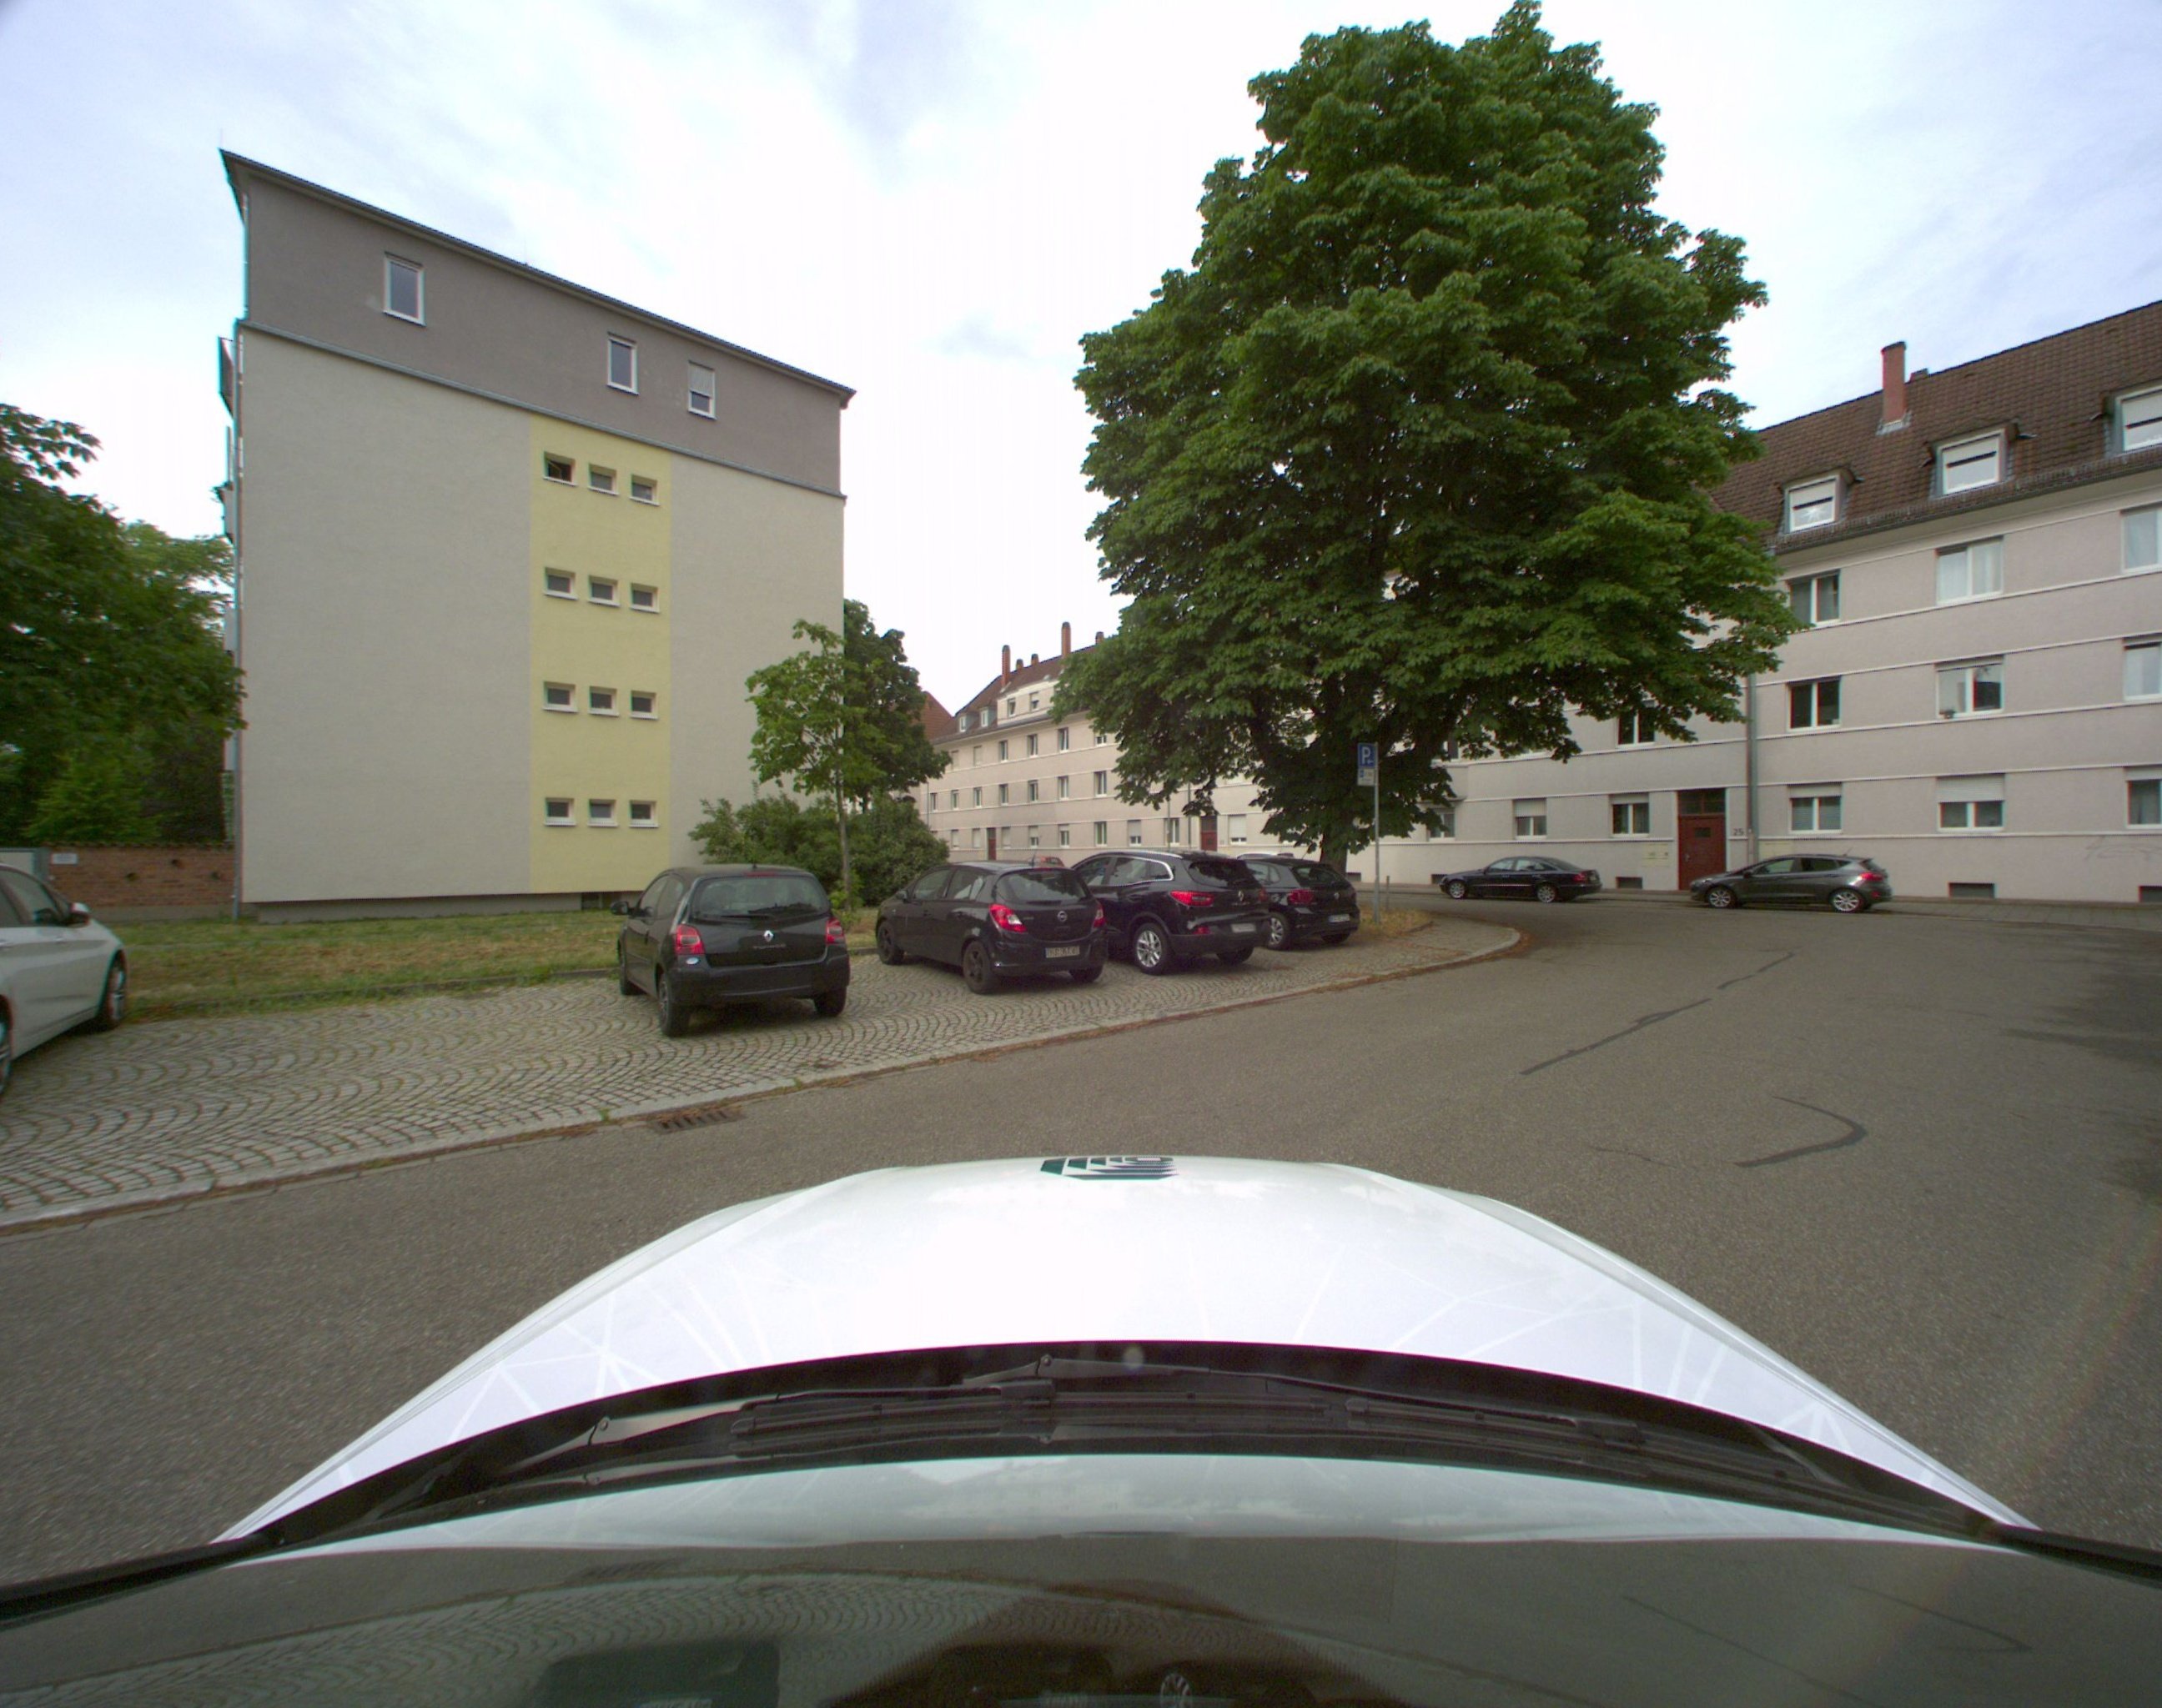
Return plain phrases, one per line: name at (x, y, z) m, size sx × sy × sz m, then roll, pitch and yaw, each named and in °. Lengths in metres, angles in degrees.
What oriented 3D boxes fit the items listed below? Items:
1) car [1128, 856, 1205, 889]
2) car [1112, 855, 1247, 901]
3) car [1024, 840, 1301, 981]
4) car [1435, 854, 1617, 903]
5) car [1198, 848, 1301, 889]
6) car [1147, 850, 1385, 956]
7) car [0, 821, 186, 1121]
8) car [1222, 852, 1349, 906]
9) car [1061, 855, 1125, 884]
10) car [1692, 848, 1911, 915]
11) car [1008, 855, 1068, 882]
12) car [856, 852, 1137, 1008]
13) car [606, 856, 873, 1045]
car at (4.147, 0.874, 39.858) m, size 1.579 × 1.478 × 3.827 m, roll -1°, pitch 0°, yaw -37°
car at (3.350, 0.819, 28.526) m, size 1.882 × 1.465 × 4.780 m, roll 3°, pitch -2°, yaw -37°
car at (1.017, 0.652, 11.997) m, size 1.924 × 1.697 × 4.025 m, roll 0°, pitch 1°, yaw -34°
car at (14.303, 0.716, 26.459) m, size 1.760 × 1.420 × 4.892 m, roll -1°, pitch 1°, yaw -39°
car at (7.389, 0.603, 36.006) m, size 1.858 × 1.673 × 4.239 m, roll -2°, pitch 1°, yaw -40°
car at (3.091, 0.740, 14.273) m, size 1.839 × 1.577 × 3.800 m, roll -1°, pitch 0°, yaw -36°
car at (-8.088, 0.605, 5.615) m, size 1.893 × 1.560 × 4.103 m, roll 2°, pitch 2°, yaw -38°
car at (6.099, 0.721, 24.546) m, size 1.536 × 1.494 × 3.552 m, roll 3°, pitch -2°, yaw -35°
car at (0.625, 0.808, 44.214) m, size 1.579 × 1.473 × 3.655 m, roll 0°, pitch 0°, yaw -36°
car at (18.572, 0.634, 21.130) m, size 1.771 × 1.525 × 4.032 m, roll -1°, pitch 1°, yaw -39°
car at (-2.569, 0.841, 48.278) m, size 1.710 × 1.525 × 3.782 m, roll -2°, pitch 1°, yaw -38°
car at (-1.327, 0.776, 10.724) m, size 1.849 × 1.566 × 4.311 m, roll 0°, pitch 1°, yaw -34°
car at (-3.998, 0.791, 9.003) m, size 1.849 × 1.463 × 4.512 m, roll 0°, pitch 1°, yaw -34°
